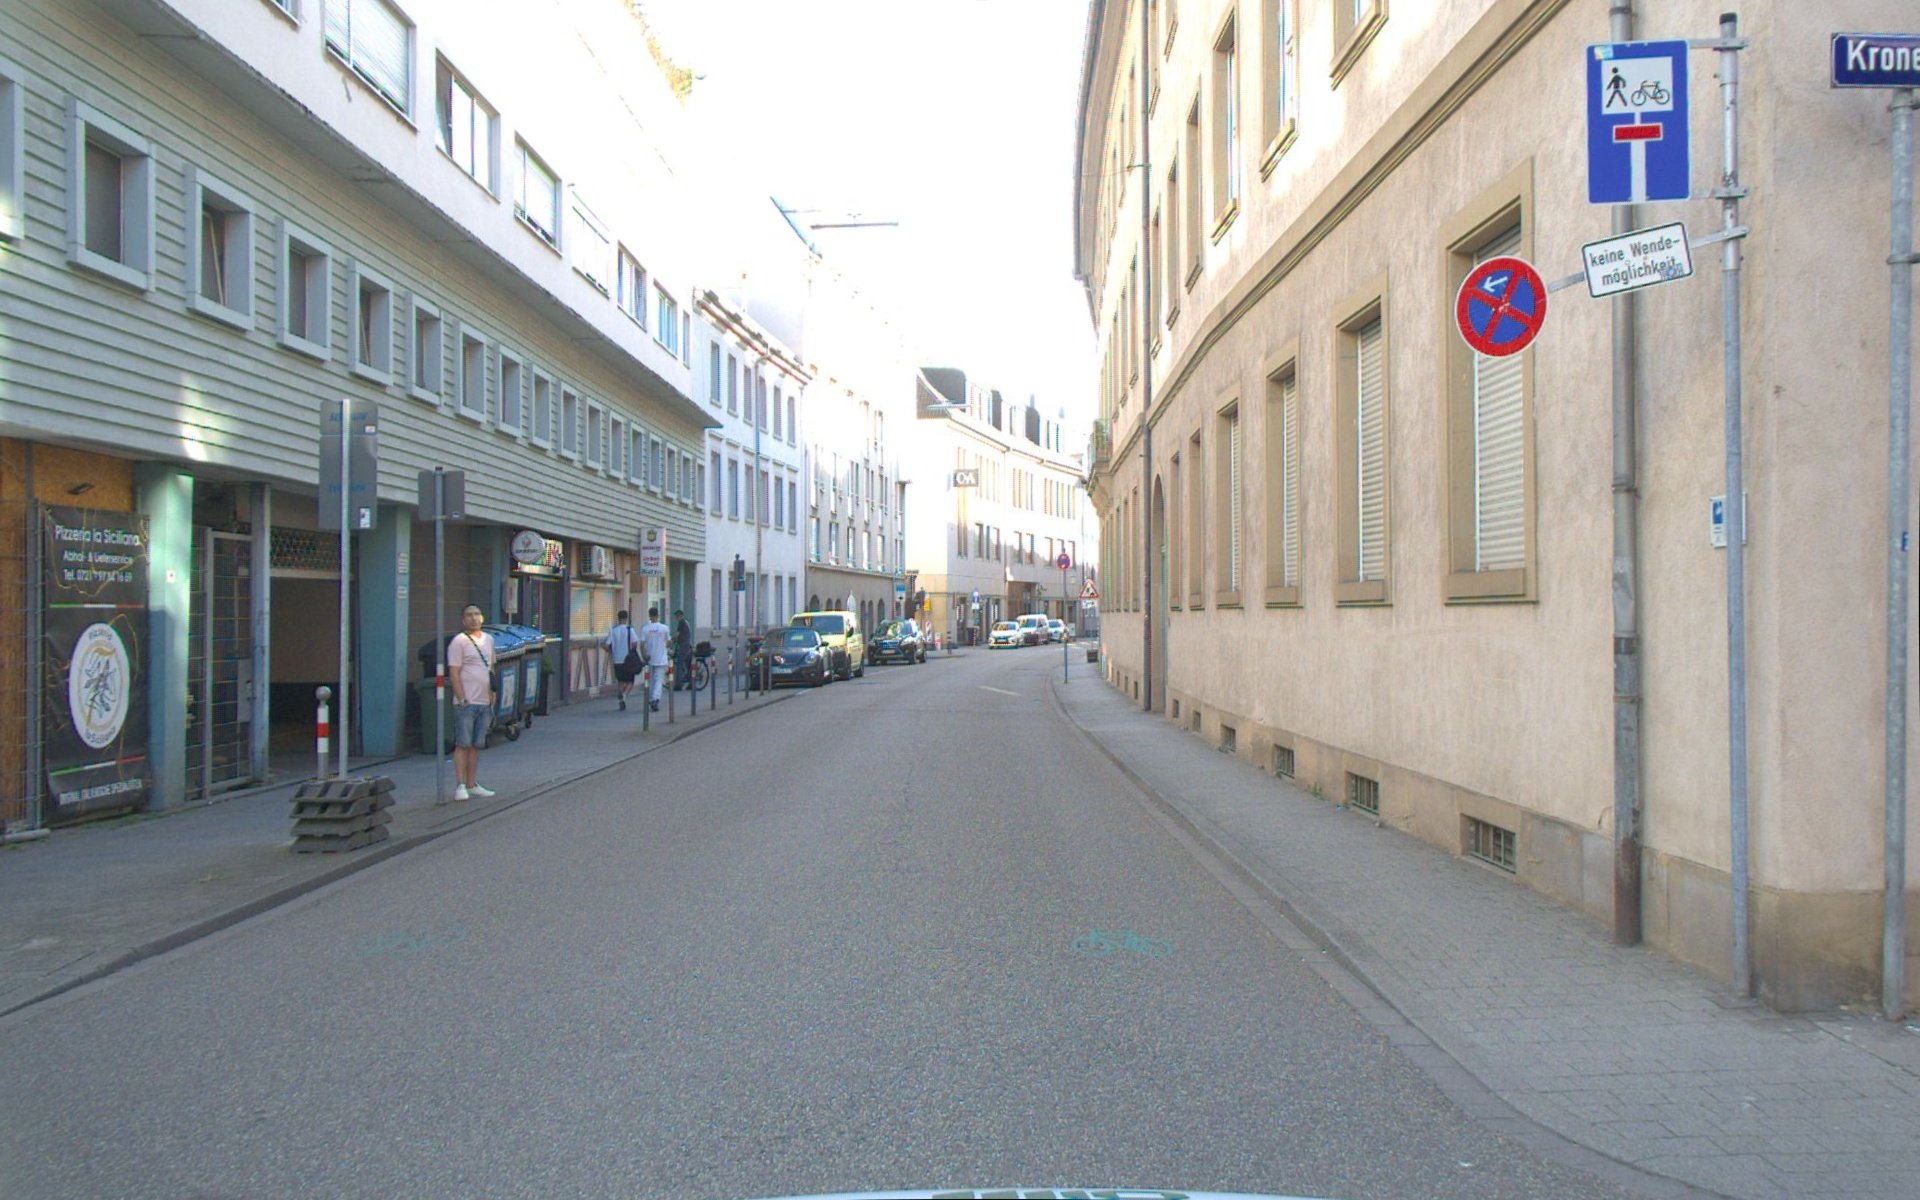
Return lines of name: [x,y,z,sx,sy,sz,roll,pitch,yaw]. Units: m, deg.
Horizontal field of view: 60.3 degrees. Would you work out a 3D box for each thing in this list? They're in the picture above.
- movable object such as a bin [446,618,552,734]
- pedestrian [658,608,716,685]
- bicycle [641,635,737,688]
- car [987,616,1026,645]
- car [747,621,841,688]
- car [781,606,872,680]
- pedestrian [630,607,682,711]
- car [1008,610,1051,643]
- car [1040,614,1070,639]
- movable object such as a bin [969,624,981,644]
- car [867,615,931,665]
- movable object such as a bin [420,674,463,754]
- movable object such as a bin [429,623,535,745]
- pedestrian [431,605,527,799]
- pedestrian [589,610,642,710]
movable object such as a bin: [-6.471,1.048,23.277,1.099,1.547,1.342,-1,0,0]
pedestrian: [-6.301,1.066,38.205,1.056,1.759,0.801,-1,-1,24]
bicycle: [-6.269,1.413,38.187,2.086,1.183,0.823,-1,-1,25]
car: [2.660,1.736,93.991,1.635,1.533,3.797,-2,-1,9]
car: [-4.140,1.332,41.845,1.781,1.512,4.077,-3,-1,2]
car: [-3.758,1.194,47.413,1.841,1.899,4.866,-3,-1,3]
pedestrian: [-5.258,1.009,28.676,0.683,1.765,0.829,-2,-1,2]
car: [4.210,1.573,99.691,1.635,1.850,4.555,-2,-1,14]
car: [6.077,1.686,105.663,1.244,1.533,3.404,-2,-1,15]
movable object such as a bin: [0.847,1.964,95.441,0.596,1.079,0.714,2,-1,6]
car: [-2.321,1.497,63.604,1.703,1.741,4.193,-3,-1,7]
movable object such as a bin: [-6.488,1.421,20.700,0.385,0.959,0.467,-1,0,0]
movable object such as a bin: [-6.263,1.083,21.742,0.948,1.497,1.474,-1,1,0]
pedestrian: [-4.355,0.911,14.971,0.485,1.699,0.624,1,-1,43]
pedestrian: [-5.981,1.029,28.744,0.658,1.699,0.895,-1,-1,2]
